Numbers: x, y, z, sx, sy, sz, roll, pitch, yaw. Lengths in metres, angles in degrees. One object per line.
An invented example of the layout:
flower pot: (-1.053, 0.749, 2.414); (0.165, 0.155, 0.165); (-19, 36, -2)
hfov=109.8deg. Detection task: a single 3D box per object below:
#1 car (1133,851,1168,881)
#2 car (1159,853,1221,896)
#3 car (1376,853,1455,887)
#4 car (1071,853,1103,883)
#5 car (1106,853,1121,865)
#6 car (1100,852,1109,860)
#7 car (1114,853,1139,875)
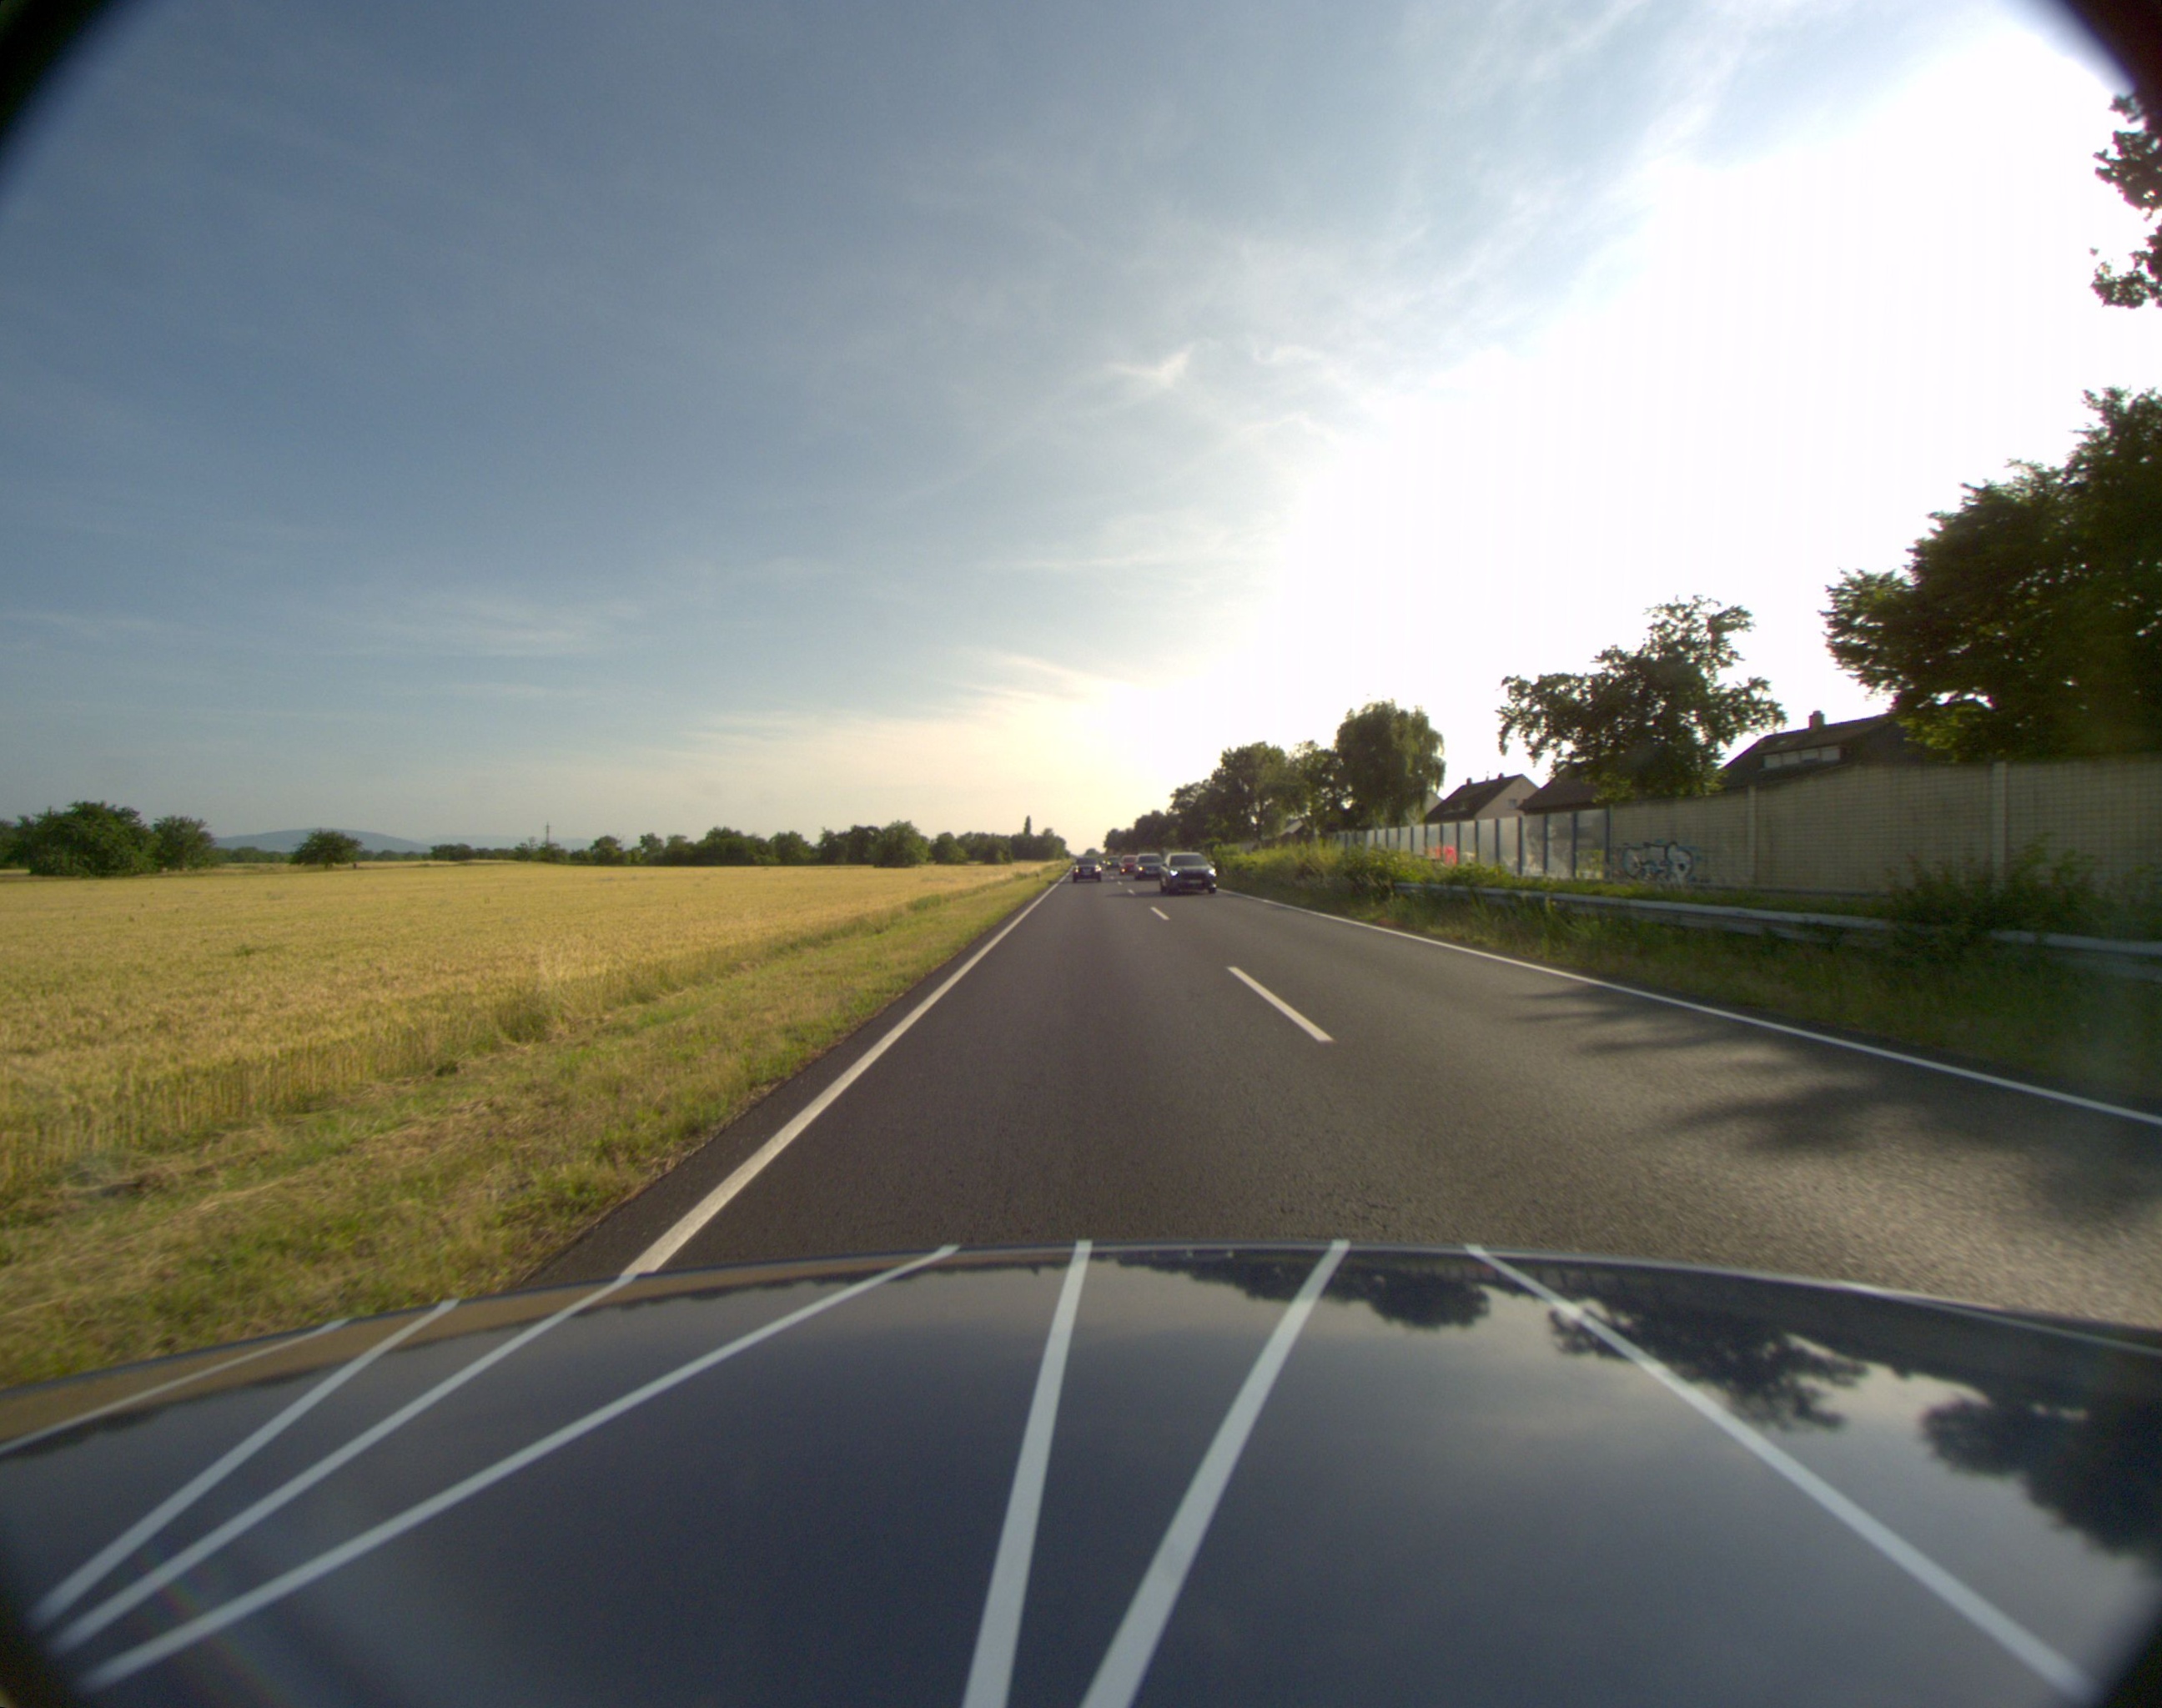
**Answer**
car: (4.358, 0.748, 48.340); (1.822, 1.724, 4.000); (-2, 1, 1)
car: (4.263, 0.749, 30.282); (1.822, 1.516, 4.246); (-2, 1, 1)
car: (15.064, 0.680, 34.477); (1.652, 1.353, 4.289); (-3, 1, 0)
car: (0.355, 0.836, 47.706); (1.822, 1.661, 3.999); (-2, 1, 0)
car: (4.045, 0.620, 96.083); (1.700, 1.456, 3.646); (-2, 1, 0)
car: (4.849, 0.417, 159.924); (1.693, 1.397, 3.999); (-2, 1, 0)
car: (3.764, 0.801, 63.889); (1.822, 1.661, 3.999); (-2, 1, 0)
